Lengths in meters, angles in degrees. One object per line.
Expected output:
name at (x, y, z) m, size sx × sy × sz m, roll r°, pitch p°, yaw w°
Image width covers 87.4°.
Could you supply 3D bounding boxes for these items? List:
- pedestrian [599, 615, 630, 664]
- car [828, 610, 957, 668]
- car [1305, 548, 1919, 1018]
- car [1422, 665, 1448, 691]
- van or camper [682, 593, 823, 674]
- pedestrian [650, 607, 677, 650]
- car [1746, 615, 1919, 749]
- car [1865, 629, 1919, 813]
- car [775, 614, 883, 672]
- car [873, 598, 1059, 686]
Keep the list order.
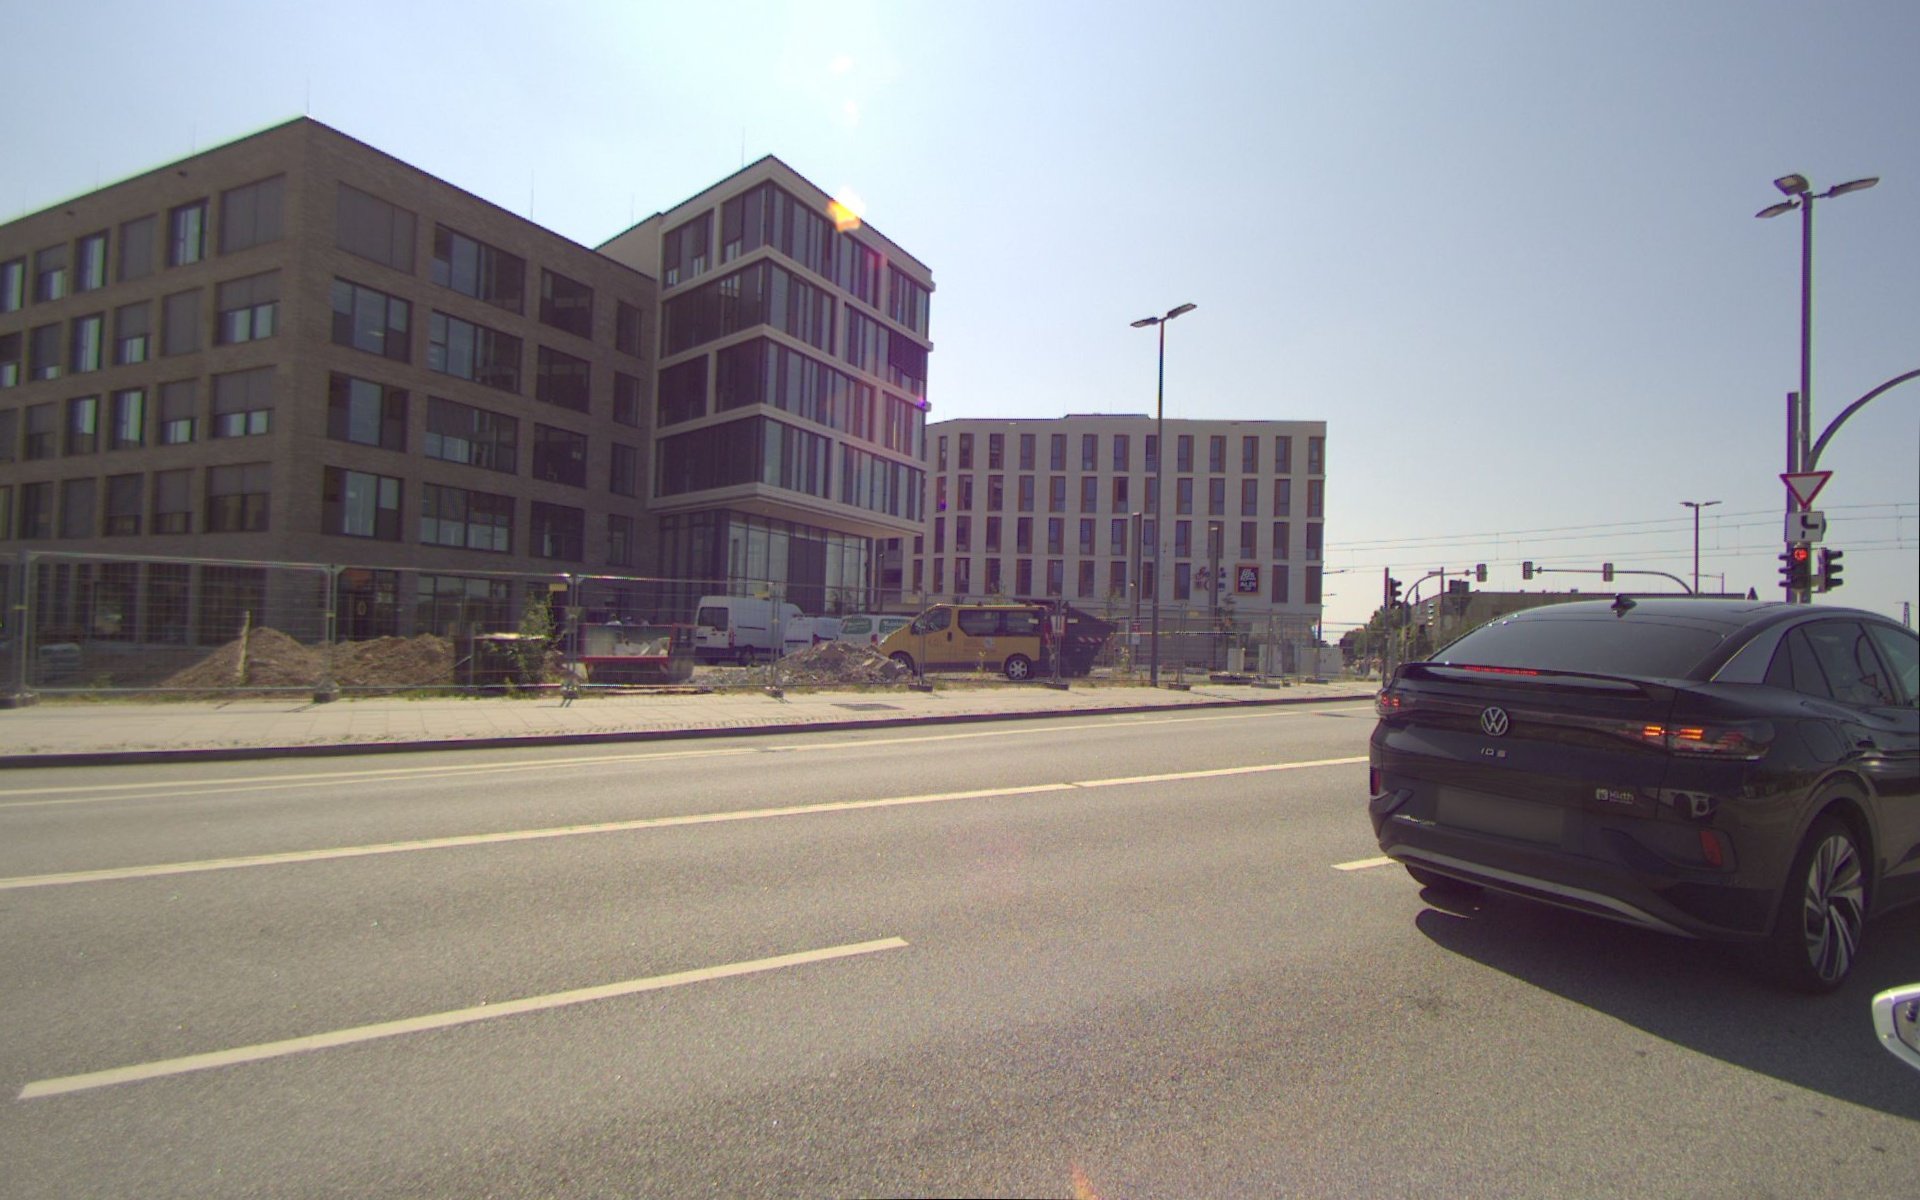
pedestrian at (-12.653, 1.423, 36.796) m, size 0.734 × 1.741 × 0.699 m, roll 2°, pitch 0°, yaw 17°
car at (-2.261, 1.330, 34.757) m, size 1.841 × 1.797 × 4.636 m, roll 2°, pitch 0°, yaw 37°
car at (4.094, 0.717, 5.413) m, size 4.314 × 1.663 × 1.793 m, roll 2°, pitch 0°, yaw -30°
car at (34.933, 5.709, 73.924) m, size 1.541 × 1.608 × 3.477 m, roll 2°, pitch 0°, yaw 24°
van or camper at (-7.700, 1.229, 37.704) m, size 2.273 × 2.772 × 4.974 m, roll 2°, pitch 0°, yaw 33°
pedestrian at (-12.272, 1.158, 41.566) m, size 0.734 × 1.741 × 0.699 m, roll 2°, pitch 0°, yaw 17°
car at (12.548, 1.072, 13.764) m, size 3.720 × 1.568 × 1.589 m, roll 2°, pitch 0°, yaw -32°
car at (9.480, 1.044, 8.545) m, size 3.742 × 1.453 × 1.567 m, roll 2°, pitch 0°, yaw -30°
car at (-4.648, 1.510, 36.040) m, size 1.759 × 1.881 × 3.842 m, roll 2°, pitch 0°, yaw 32°
car at (0.204, 1.052, 26.274) m, size 4.533 × 1.988 × 1.991 m, roll 2°, pitch 0°, yaw 10°
